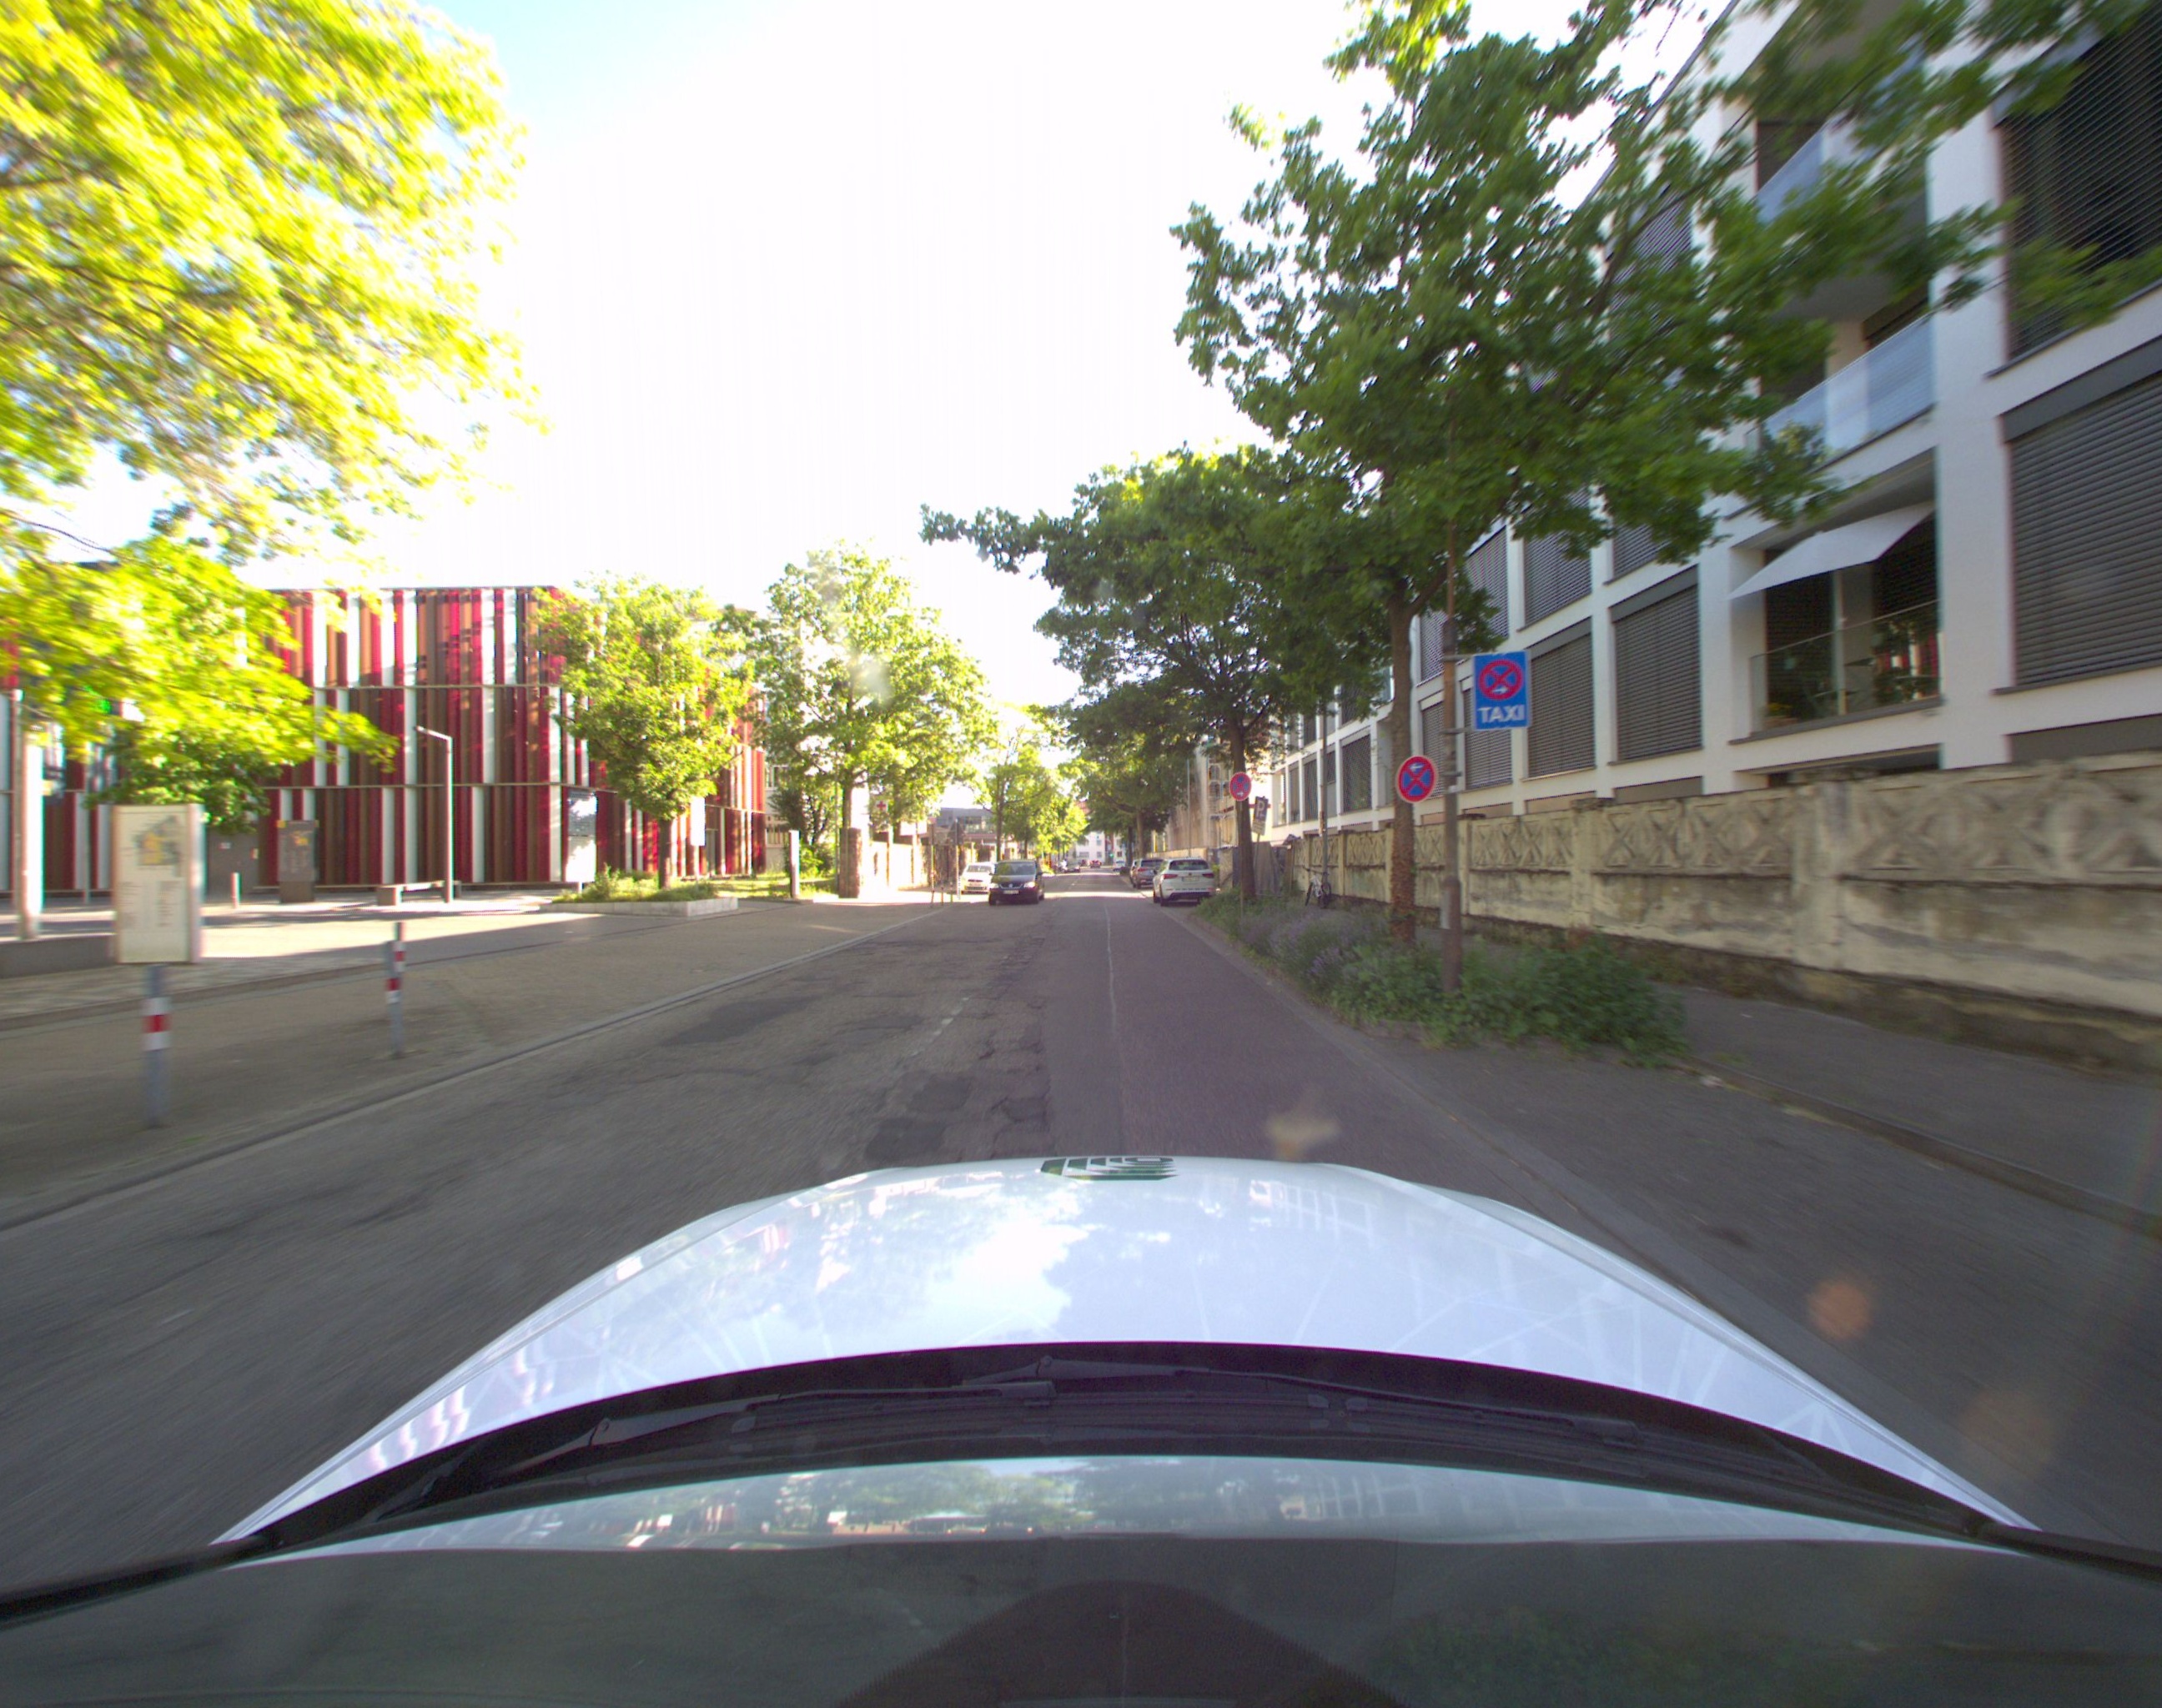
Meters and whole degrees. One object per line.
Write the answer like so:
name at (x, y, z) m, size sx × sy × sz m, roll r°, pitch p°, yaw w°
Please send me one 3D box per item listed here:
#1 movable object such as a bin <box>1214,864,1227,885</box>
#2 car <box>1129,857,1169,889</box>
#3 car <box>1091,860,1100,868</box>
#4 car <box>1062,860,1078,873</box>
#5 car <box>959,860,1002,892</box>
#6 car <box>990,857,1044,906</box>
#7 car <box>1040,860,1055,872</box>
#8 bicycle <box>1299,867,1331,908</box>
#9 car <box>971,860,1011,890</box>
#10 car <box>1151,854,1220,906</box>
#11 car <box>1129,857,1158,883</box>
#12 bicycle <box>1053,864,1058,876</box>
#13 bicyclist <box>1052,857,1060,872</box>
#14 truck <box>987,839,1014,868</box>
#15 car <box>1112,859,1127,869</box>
movable object such as a bin at (6.963, 1.038, 40.742) m, size 0.595 × 1.027 × 0.565 m, roll 1°, pitch -1°, yaw 4°
car at (3.582, 0.979, 43.572) m, size 1.707 × 1.638 × 4.301 m, roll -1°, pitch 0°, yaw -1°
car at (2.680, 1.853, 149.270) m, size 1.633 × 1.443 × 3.422 m, roll 1°, pitch -1°, yaw 1°
car at (-1.273, 1.416, 96.664) m, size 1.816 × 1.436 × 3.967 m, roll 1°, pitch 0°, yaw -1°
car at (-4.829, 1.045, 39.542) m, size 1.569 × 1.402 × 3.750 m, roll 3°, pitch 0°, yaw 0°
car at (-2.288, 0.947, 29.966) m, size 1.639 × 1.611 × 4.019 m, roll -3°, pitch 0°, yaw -1°
car at (-4.135, 1.448, 101.475) m, size 1.603 × 1.459 × 3.709 m, roll 1°, pitch -1°, yaw 1°
bicycle at (6.212, 0.863, 21.672) m, size 0.335 × 1.041 × 1.831 m, roll 0°, pitch -1°, yaw 1°
car at (-5.046, 1.154, 46.099) m, size 1.670 × 1.511 × 3.850 m, roll 2°, pitch 0°, yaw 1°
car at (3.464, 0.830, 27.687) m, size 1.787 × 1.615 × 4.125 m, roll 0°, pitch 0°, yaw -1°
car at (4.035, 1.018, 52.471) m, size 1.716 × 1.510 × 3.996 m, roll -2°, pitch 0°, yaw 4°
bicycle at (-2.568, 1.627, 83.473) m, size 0.356 × 1.120 × 1.867 m, roll 1°, pitch -1°, yaw 2°
bicyclist at (-2.559, 1.100, 83.549) m, size 0.717 × 1.522 × 1.006 m, roll 1°, pitch -1°, yaw 4°
truck at (-10.583, -0.002, 107.467) m, size 2.723 × 3.711 × 7.428 m, roll 1°, pitch -1°, yaw 1°
car at (5.132, 1.311, 108.864) m, size 1.826 × 1.323 × 4.496 m, roll -2°, pitch -1°, yaw 0°
